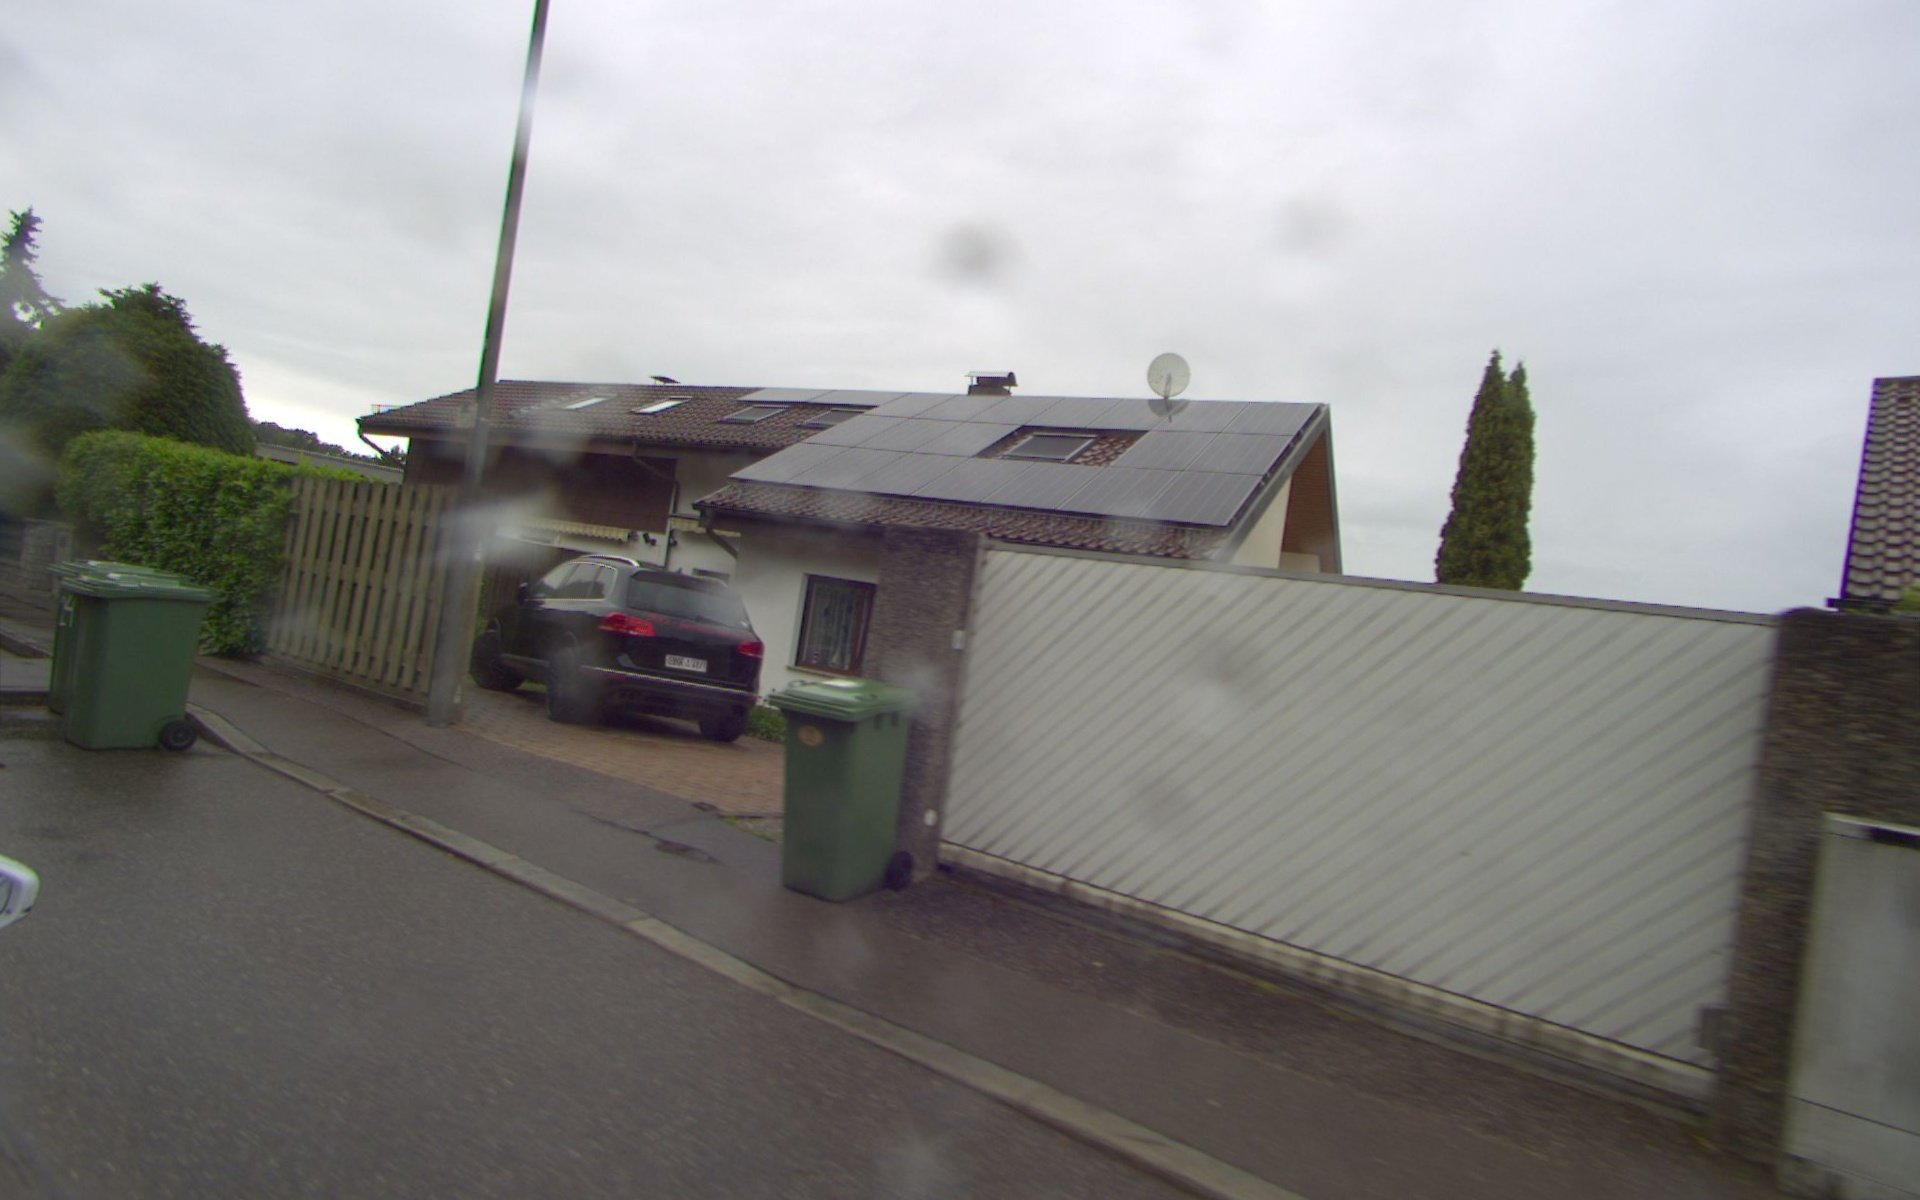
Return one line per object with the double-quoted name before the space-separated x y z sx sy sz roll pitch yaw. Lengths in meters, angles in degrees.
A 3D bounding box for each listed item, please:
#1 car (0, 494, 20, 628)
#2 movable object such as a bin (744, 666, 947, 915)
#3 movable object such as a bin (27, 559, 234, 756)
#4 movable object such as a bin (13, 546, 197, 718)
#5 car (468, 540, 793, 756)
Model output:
"car" -11.283 -0.565 10.062 4.232 1.478 1.758 7 -2 34
"movable object such as a bin" -0.584 0.935 5.210 0.591 1.102 0.738 8 1 37
"movable object such as a bin" -5.255 0.370 6.393 0.645 1.108 0.717 8 -1 30
"movable object such as a bin" -6.081 0.240 7.172 0.650 1.091 0.730 7 -1 33
"car" -3.850 0.447 11.205 1.986 1.737 4.368 12 -5 -36
